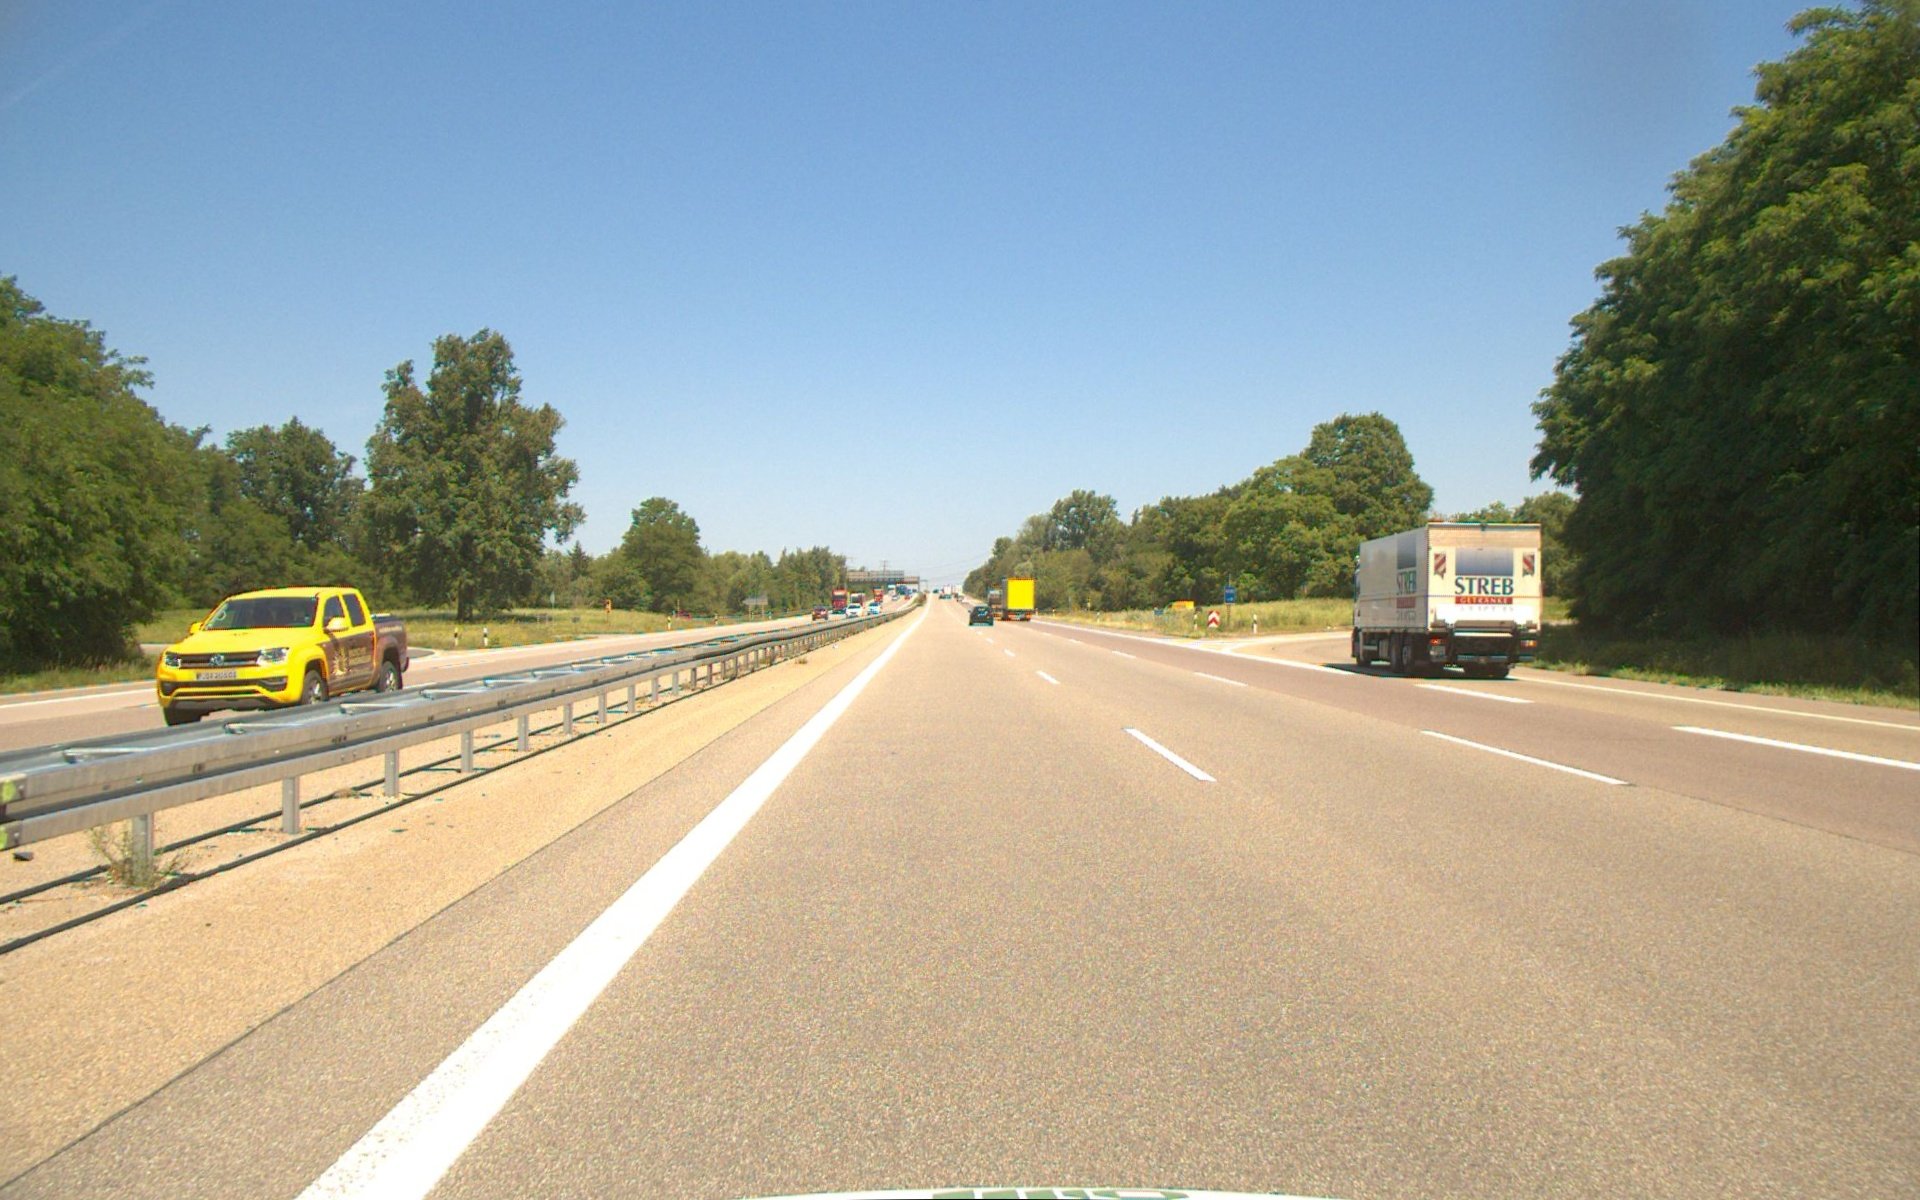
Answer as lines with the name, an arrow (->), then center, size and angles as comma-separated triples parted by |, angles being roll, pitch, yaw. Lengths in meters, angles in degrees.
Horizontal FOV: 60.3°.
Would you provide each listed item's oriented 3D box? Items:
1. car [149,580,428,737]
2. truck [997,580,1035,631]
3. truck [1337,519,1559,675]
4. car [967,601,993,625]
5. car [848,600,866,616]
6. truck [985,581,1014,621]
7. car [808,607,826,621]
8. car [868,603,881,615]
car -> -9.484, 0.756, 23.907 | 1.953, 1.998, 5.210 | 1, 0, -1
truck -> 5.619, 0.544, 169.199 | 3.308, 4.966, 15.084 | 1, 0, 0
truck -> 11.898, -0.045, 41.600 | 2.965, 3.377, 10.775 | 1, 0, 3
car -> 1.464, 0.937, 124.246 | 1.790, 1.736, 3.999 | 1, 0, -1
car -> -11.369, 0.900, 182.859 | 1.726, 1.722, 4.818 | -1, 0, -1
truck -> 5.057, 0.190, 215.649 | 3.298, 4.966, 15.084 | 1, 0, 0
car -> -16.458, 1.607, 190.783 | 1.726, 1.521, 4.074 | -2, 0, -1
car -> -12.769, 1.317, 247.007 | 1.774, 1.722, 5.124 | -1, 0, -1
